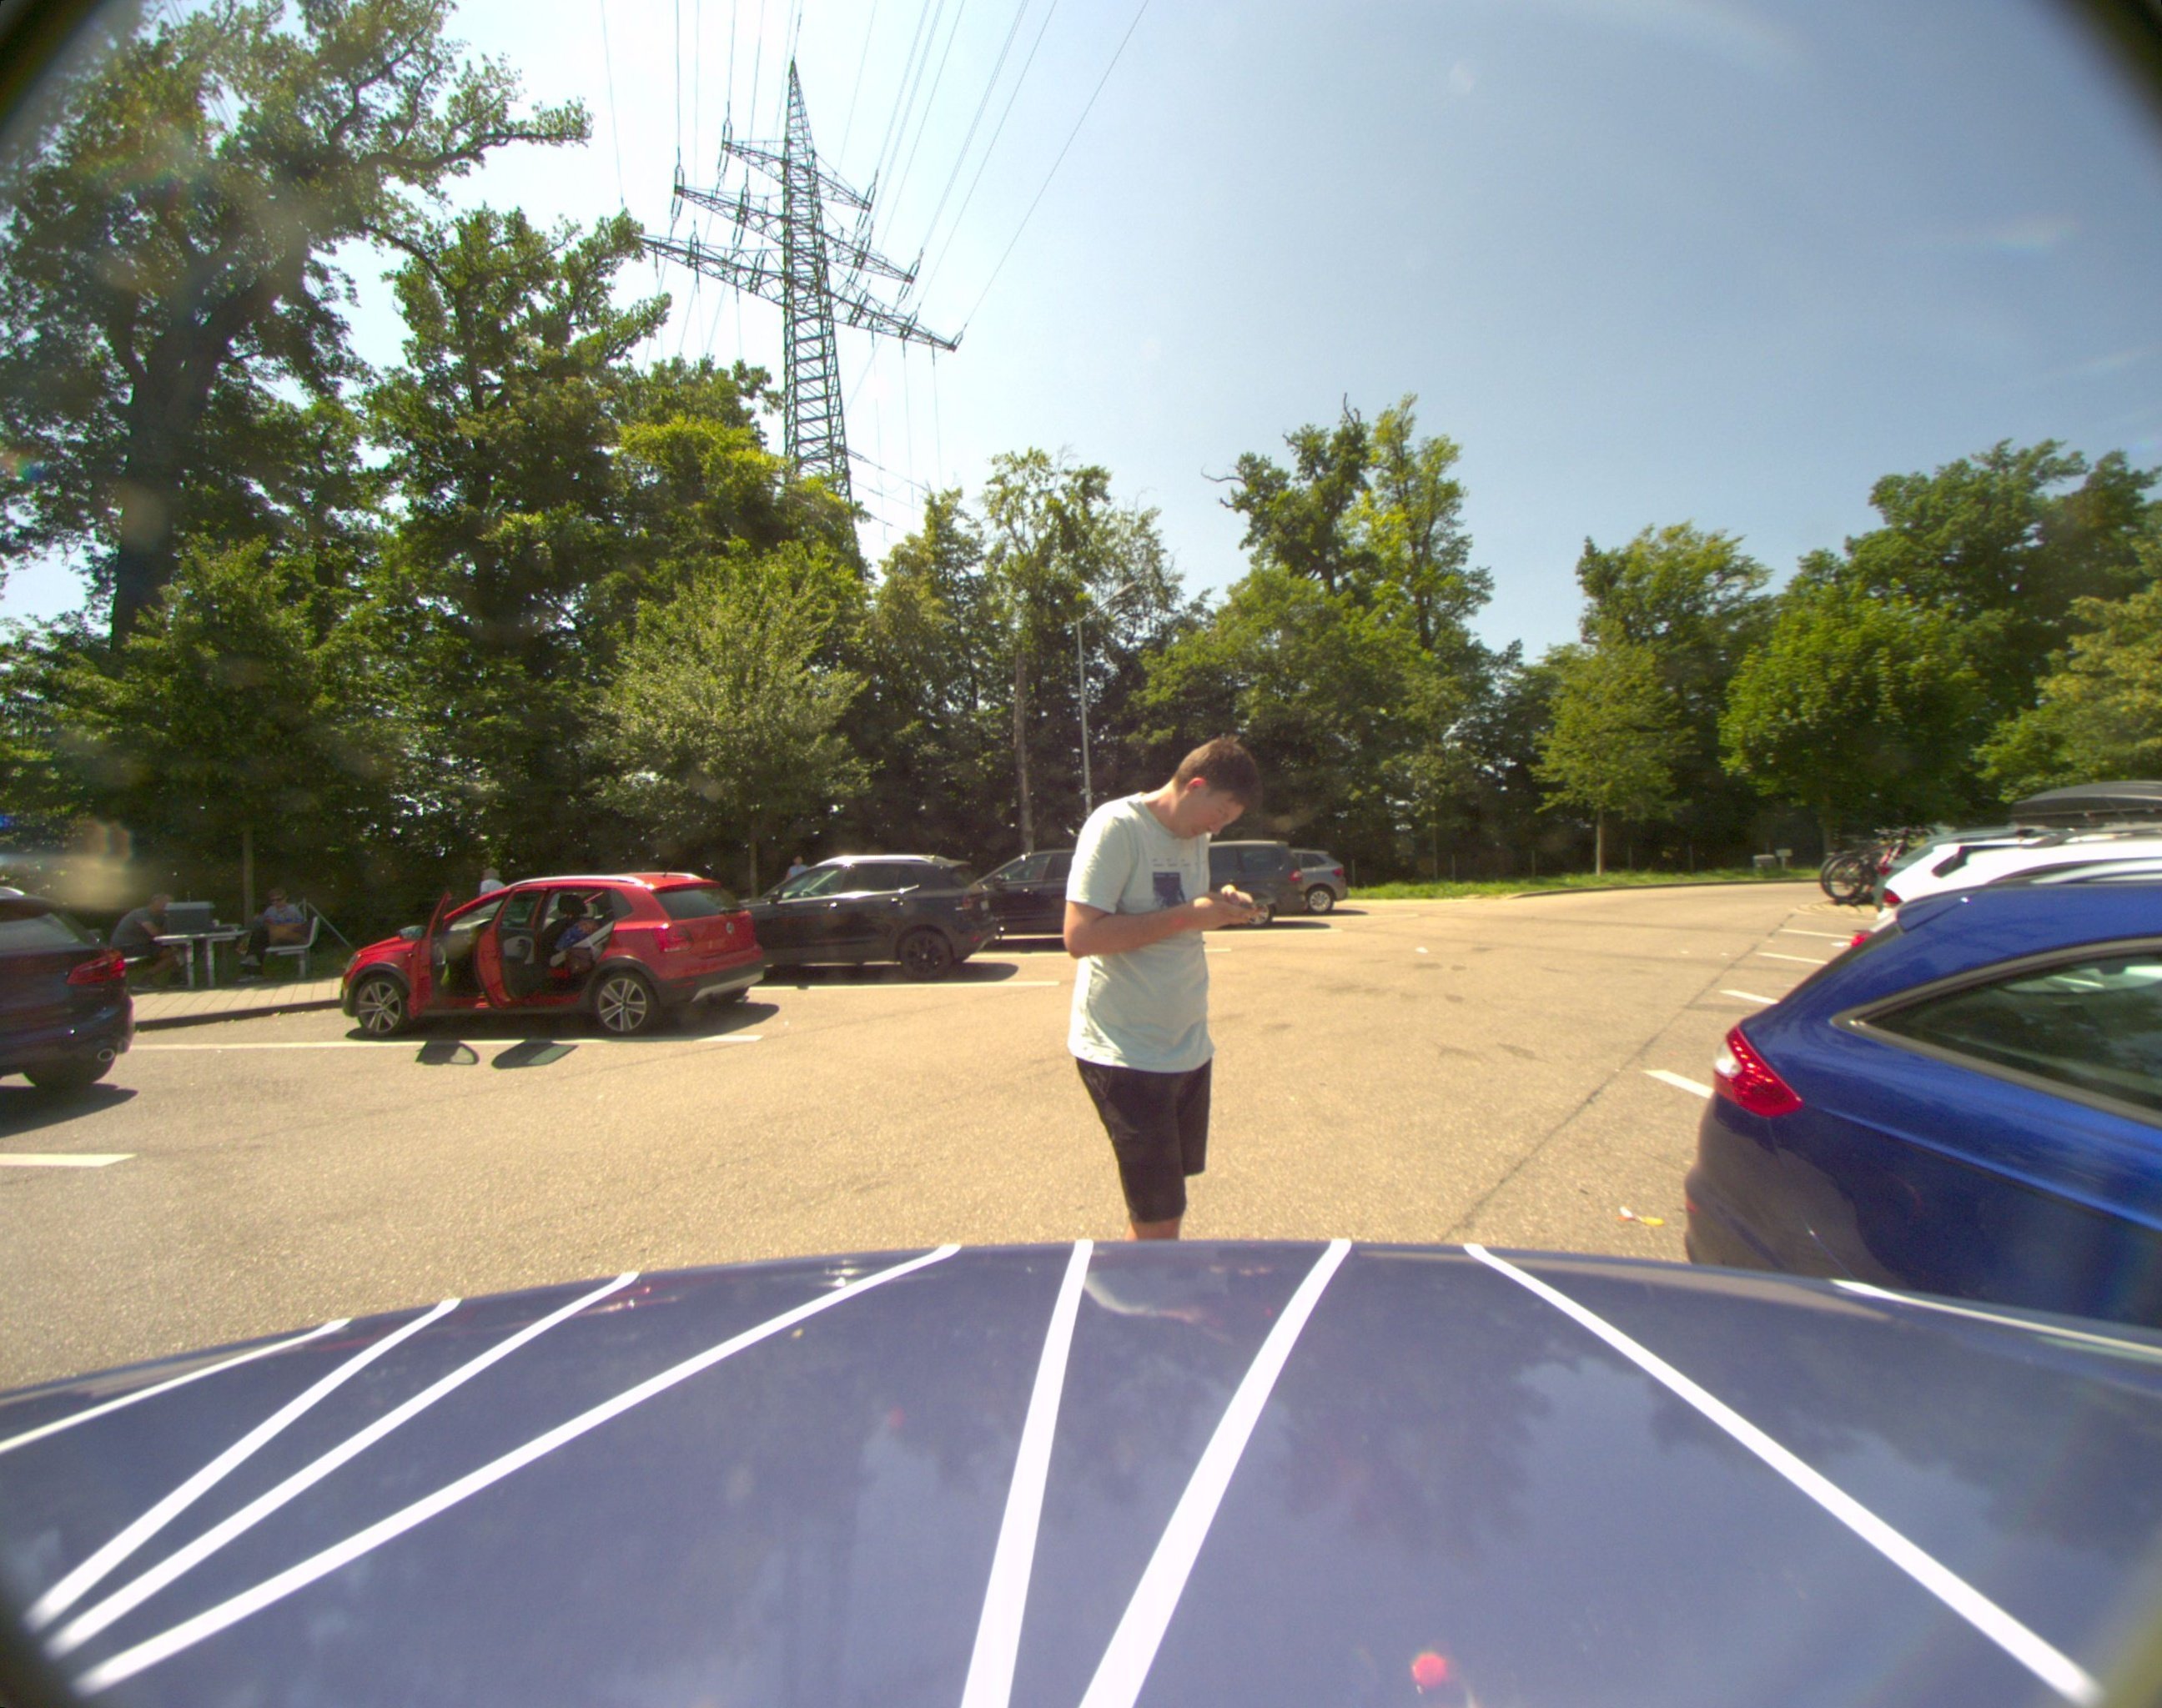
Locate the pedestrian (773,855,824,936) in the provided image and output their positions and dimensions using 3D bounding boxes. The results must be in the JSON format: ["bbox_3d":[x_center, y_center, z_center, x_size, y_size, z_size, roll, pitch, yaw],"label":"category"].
[{"bbox_3d":[-5.790,0.835,15.632,0.715,1.584,0.809,-2,0,-2],"label":"pedestrian"}]

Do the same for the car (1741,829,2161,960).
[{"bbox_3d":[12.365,0.479,10.932,1.779,1.456,4.470,-2,-1,0],"label":"car"}]

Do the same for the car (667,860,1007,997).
[{"bbox_3d":[-3.146,0.943,10.369,3.966,1.582,1.841,-2,0,3],"label":"car"}]

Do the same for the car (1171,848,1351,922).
[{"bbox_3d":[4.177,0.717,18.192,3.964,1.577,1.781,-2,0,7],"label":"car"}]

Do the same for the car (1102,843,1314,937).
[{"bbox_3d":[2.508,0.701,15.439,3.964,1.678,1.781,-2,0,7],"label":"car"}]

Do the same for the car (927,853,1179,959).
[{"bbox_3d":[-0.377,0.847,12.955,3.964,1.582,1.781,-2,0,8],"label":"car"}]

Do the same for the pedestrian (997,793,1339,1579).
[{"bbox_3d":[0.193,0.730,1.952,0.687,1.699,0.578,-2,0,1],"label":"pedestrian"}]

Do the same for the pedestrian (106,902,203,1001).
[{"bbox_3d":[-12.766,1.323,10.477,0.652,1.262,0.672,-2,0,24],"label":"pedestrian"}]

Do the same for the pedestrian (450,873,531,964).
[{"bbox_3d":[-10.791,1.167,13.906,0.808,1.584,0.776,-2,0,6],"label":"pedestrian"}]

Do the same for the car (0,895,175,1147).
[{"bbox_3d":[-8.918,1.162,4.991,4.011,1.558,1.846,-2,0,6],"label":"car"}]

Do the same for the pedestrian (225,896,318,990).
[{"bbox_3d":[-11.837,1.278,11.117,0.828,1.287,0.672,-2,0,24],"label":"pedestrian"}]

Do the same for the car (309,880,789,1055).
[{"bbox_3d":[-5.193,1.077,7.709,3.704,1.448,1.781,-2,0,7],"label":"car"}]

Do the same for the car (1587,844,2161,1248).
[{"bbox_3d":[4.844,0.704,3.655,1.779,1.456,4.470,-2,-1,0],"label":"car"}]

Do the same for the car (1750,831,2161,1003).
[{"bbox_3d":[10.063,0.535,8.147,1.779,1.456,4.470,-2,-1,0],"label":"car"}]
